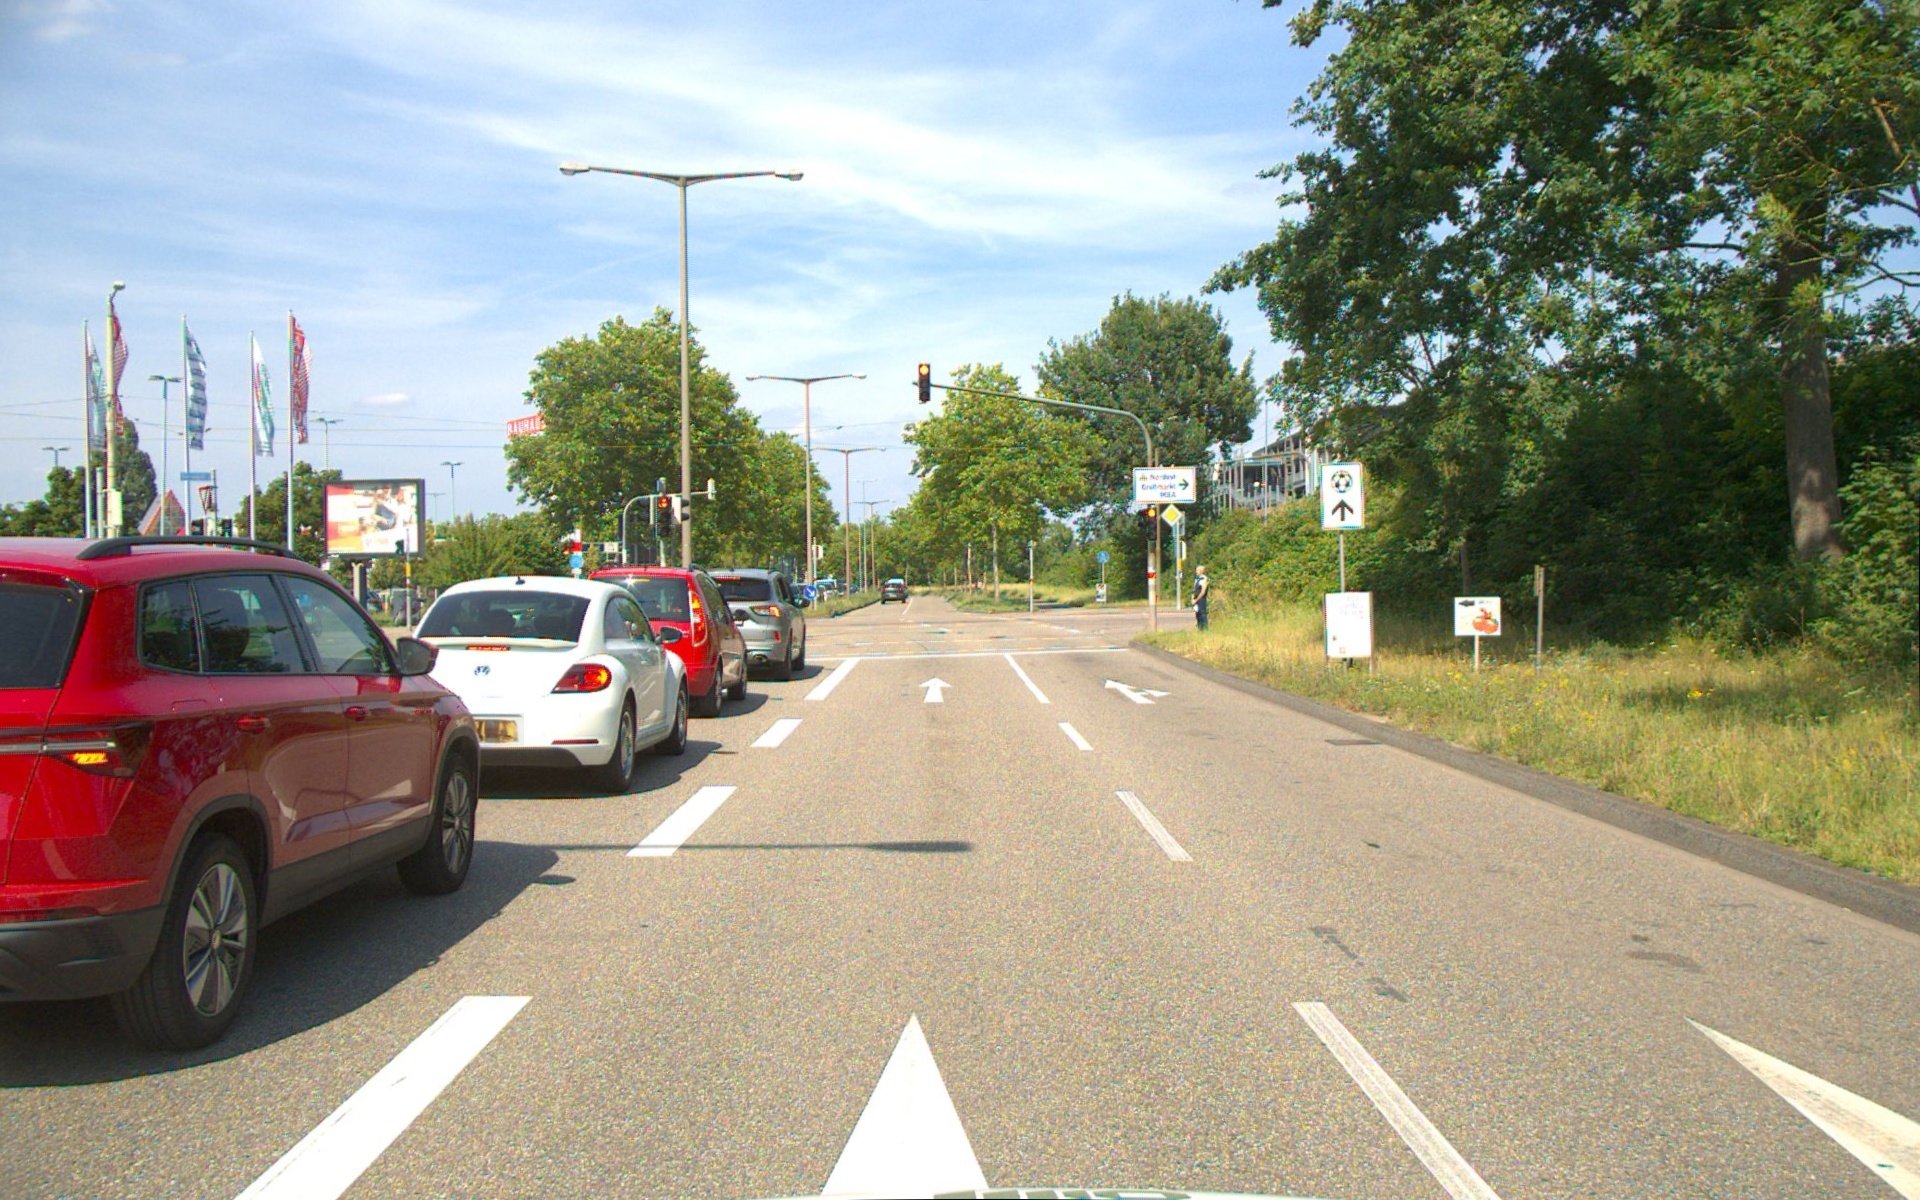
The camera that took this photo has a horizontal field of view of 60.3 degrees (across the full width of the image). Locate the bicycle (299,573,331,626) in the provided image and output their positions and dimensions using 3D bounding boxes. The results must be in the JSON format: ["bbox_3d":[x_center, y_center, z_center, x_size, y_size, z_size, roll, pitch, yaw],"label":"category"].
[{"bbox_3d":[-20.196,-0.015,51.772,0.659,1.643,0.991,-1,0,-6],"label":"bicycle"}]

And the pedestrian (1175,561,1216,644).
[{"bbox_3d":[5.702,0.053,40.065,0.821,1.966,0.771,0,3,-4],"label":"pedestrian"}]

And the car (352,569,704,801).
[{"bbox_3d":[-3.142,0.532,12.889,1.730,1.505,4.135,1,1,-1],"label":"car"}]

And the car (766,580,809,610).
[{"bbox_3d":[-9.161,-0.300,88.244,1.953,1.527,3.999,-1,1,-1],"label":"car"}]

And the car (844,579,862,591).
[{"bbox_3d":[-16.542,-2.334,255.277,1.836,1.724,4.389,-1,1,-17],"label":"car"}]

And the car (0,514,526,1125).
[{"bbox_3d":[-3.178,0.550,6.660,1.746,1.620,4.592,0,1,-1],"label":"car"}]

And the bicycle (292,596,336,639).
[{"bbox_3d":[-20.203,0.526,51.758,0.659,1.278,2.244,-1,0,-6],"label":"bicycle"}]

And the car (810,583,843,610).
[{"bbox_3d":[-8.424,-0.252,104.627,1.864,1.624,3.999,-1,1,-1],"label":"car"}]

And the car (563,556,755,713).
[{"bbox_3d":[-3.409,0.372,19.380,1.595,1.623,3.917,-1,0,-1],"label":"car"}]

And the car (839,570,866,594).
[{"bbox_3d":[-8.649,-1.443,132.859,1.953,1.928,4.375,-1,1,-1],"label":"car"}]

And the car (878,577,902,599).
[{"bbox_3d":[-5.382,-0.933,126.972,1.701,1.562,4.001,0,3,-1],"label":"car"}]

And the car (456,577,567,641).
[{"bbox_3d":[-11.513,0.193,42.673,1.739,1.496,4.000,-2,1,-1],"label":"car"}]

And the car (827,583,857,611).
[{"bbox_3d":[-8.315,-0.219,116.919,1.953,1.928,4.374,-1,1,-2],"label":"car"}]

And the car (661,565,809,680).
[{"bbox_3d":[-3.447,0.302,26.040,1.843,1.646,4.211,0,1,-1],"label":"car"}]
